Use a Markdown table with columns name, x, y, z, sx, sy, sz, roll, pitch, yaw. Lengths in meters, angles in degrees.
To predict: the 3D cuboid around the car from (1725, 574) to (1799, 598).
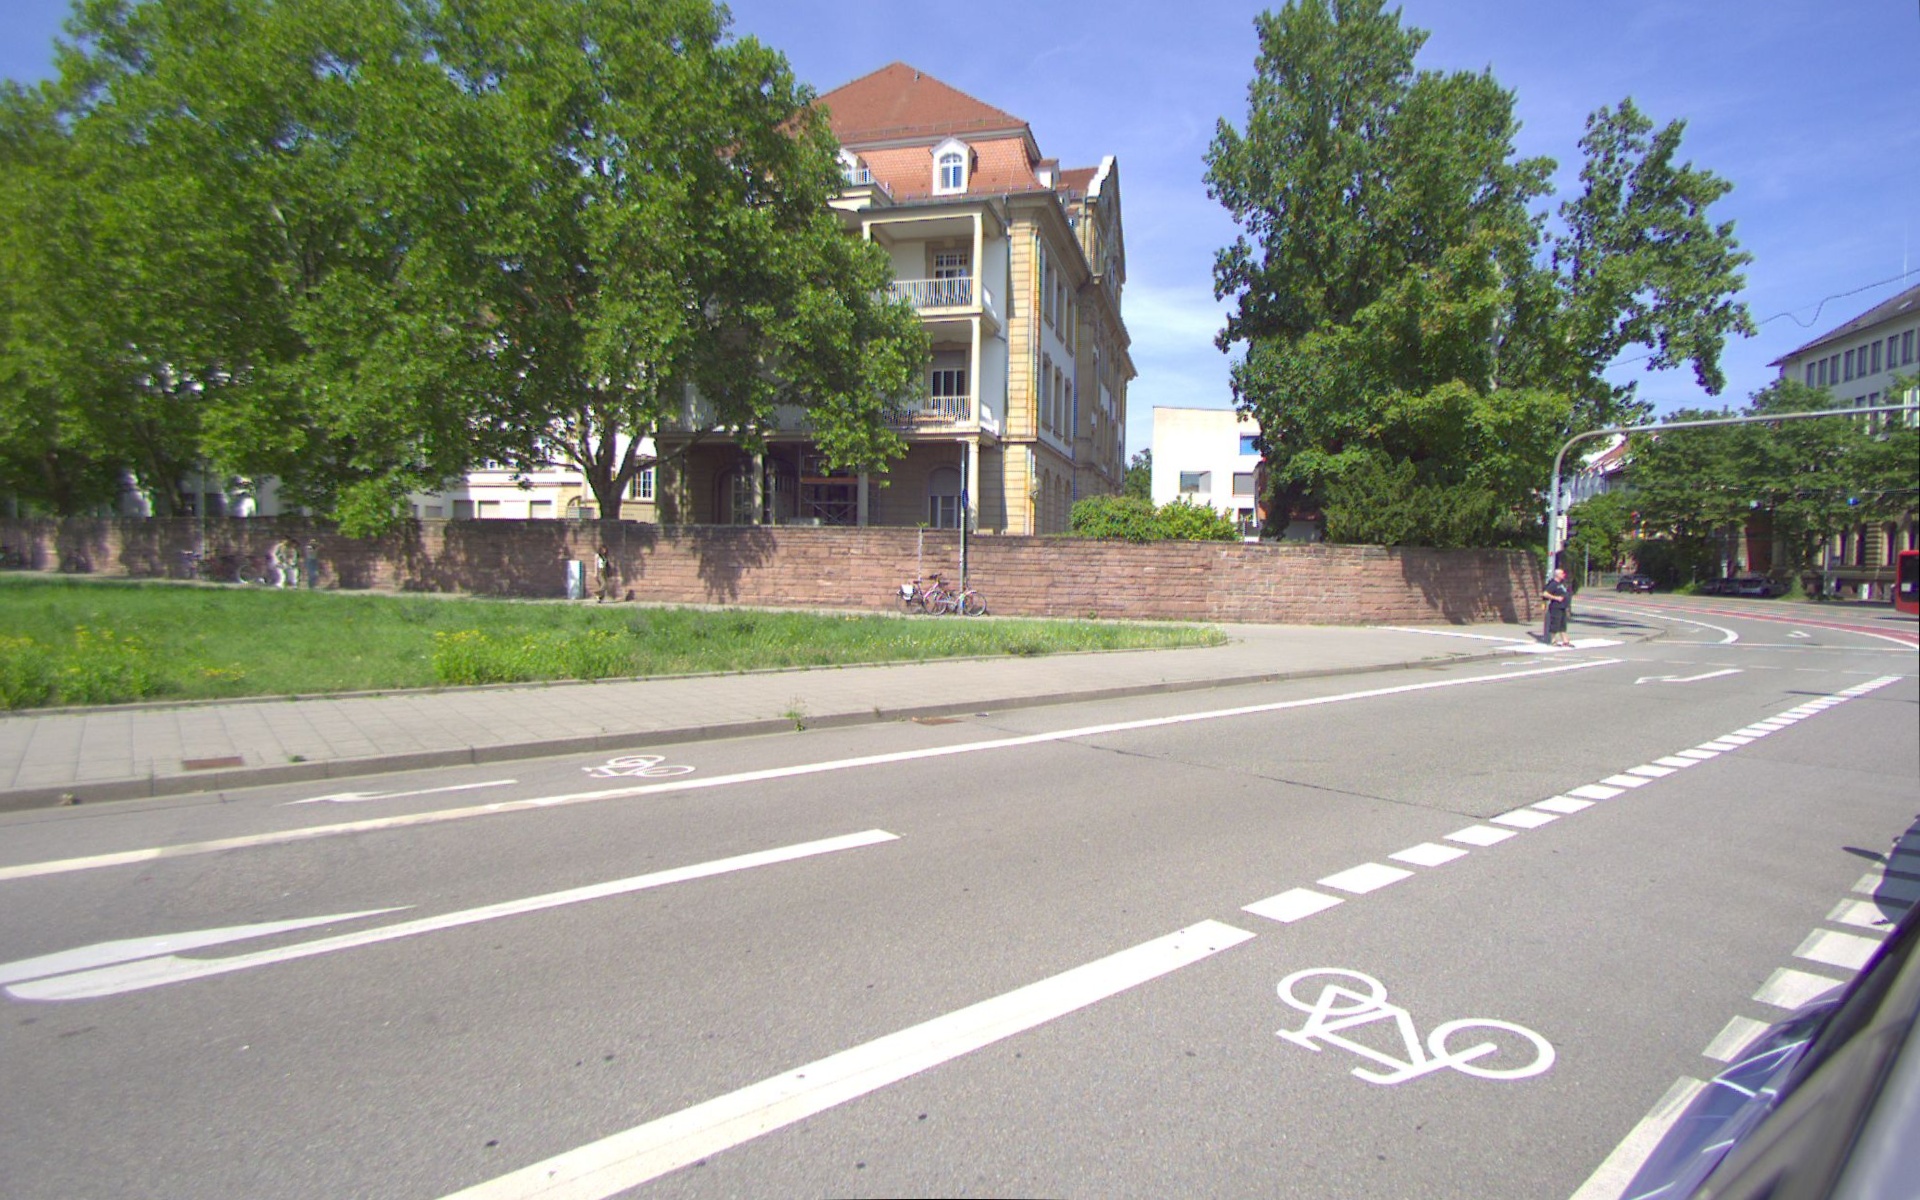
| name | x | y | z | sx | sy | sz | roll | pitch | yaw |
| --- | --- | --- | --- | --- | --- | --- | --- | --- | --- |
| car | 61.390 | -1.112 | 77.523 | 3.941 | 1.682 | 1.993 | -1 | 3 | 14 |

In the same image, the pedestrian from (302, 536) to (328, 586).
| name | x | y | z | sx | sy | sz | roll | pitch | yaw |
| --- | --- | --- | --- | --- | --- | --- | --- | --- | --- |
| pedestrian | -21.053 | -1.274 | 33.024 | 0.700 | 1.597 | 0.516 | 3 | 3 | 41 |

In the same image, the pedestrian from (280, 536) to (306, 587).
| name | x | y | z | sx | sy | sz | roll | pitch | yaw |
| --- | --- | --- | --- | --- | --- | --- | --- | --- | --- |
| pedestrian | -21.205 | -1.240 | 32.169 | 0.700 | 1.597 | 0.516 | 3 | 3 | 41 |

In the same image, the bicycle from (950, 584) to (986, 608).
| name | x | y | z | sx | sy | sz | roll | pitch | yaw |
| --- | --- | --- | --- | --- | --- | --- | --- | --- | --- |
| bicycle | 0.216 | -0.096 | 27.000 | 0.929 | 0.609 | 0.275 | 1 | 2 | -2 |

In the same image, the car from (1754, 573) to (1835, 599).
| name | x | y | z | sx | sy | sz | roll | pitch | yaw |
| --- | --- | --- | --- | --- | --- | --- | --- | --- | --- |
| car | 60.106 | -1.007 | 72.949 | 3.942 | 1.682 | 1.993 | -1 | 3 | 15 |

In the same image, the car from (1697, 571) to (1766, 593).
| name | x | y | z | sx | sy | sz | roll | pitch | yaw |
| --- | --- | --- | --- | --- | --- | --- | --- | --- | --- |
| car | 62.527 | -1.482 | 82.133 | 3.943 | 1.682 | 1.992 | -1 | 3 | 16 |

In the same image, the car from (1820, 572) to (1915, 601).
| name | x | y | z | sx | sy | sz | roll | pitch | yaw |
| --- | --- | --- | --- | --- | --- | --- | --- | --- | --- |
| car | 57.098 | -0.849 | 63.768 | 3.940 | 1.682 | 1.993 | -1 | 3 | 14 |

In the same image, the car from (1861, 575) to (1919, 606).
| name | x | y | z | sx | sy | sz | roll | pitch | yaw |
| --- | --- | --- | --- | --- | --- | --- | --- | --- | --- |
| car | 55.722 | -0.549 | 59.210 | 3.942 | 1.682 | 1.992 | -1 | 3 | 15 |

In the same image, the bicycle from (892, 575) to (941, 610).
| name | x | y | z | sx | sy | sz | roll | pitch | yaw |
| --- | --- | --- | --- | --- | --- | --- | --- | --- | --- |
| bicycle | -1.149 | -0.188 | 26.756 | 1.202 | 0.894 | 0.395 | 0 | 2 | -21 |

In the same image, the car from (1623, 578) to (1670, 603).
| name | x | y | z | sx | sy | sz | roll | pitch | yaw |
| --- | --- | --- | --- | --- | --- | --- | --- | --- | --- |
| car | 55.255 | -0.784 | 81.536 | 1.973 | 1.915 | 3.979 | 0 | 1 | 17 |

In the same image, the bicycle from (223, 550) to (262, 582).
| name | x | y | z | sx | sy | sz | roll | pitch | yaw |
| --- | --- | --- | --- | --- | --- | --- | --- | --- | --- |
| bicycle | -24.911 | -1.179 | 35.110 | 1.432 | 1.046 | 0.444 | 2 | 2 | 24 |

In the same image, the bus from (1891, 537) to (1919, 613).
| name | x | y | z | sx | sy | sz | roll | pitch | yaw |
| --- | --- | --- | --- | --- | --- | --- | --- | --- | --- |
| bus | 40.264 | -0.960 | 36.518 | 3.079 | 3.133 | 12.391 | -1 | 1 | 7 |

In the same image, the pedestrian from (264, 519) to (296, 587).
| name | x | y | z | sx | sy | sz | roll | pitch | yaw |
| --- | --- | --- | --- | --- | --- | --- | --- | --- | --- |
| pedestrian | -20.661 | -1.425 | 30.742 | 0.586 | 2.038 | 0.522 | 1 | 2 | 9 |

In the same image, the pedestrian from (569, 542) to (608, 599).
| name | x | y | z | sx | sy | sz | roll | pitch | yaw |
| --- | --- | --- | --- | --- | --- | --- | --- | --- | --- |
| pedestrian | -10.492 | -0.837 | 28.600 | 0.900 | 1.567 | 0.501 | 2 | 2 | 13 |

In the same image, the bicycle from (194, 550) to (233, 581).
| name | x | y | z | sx | sy | sz | roll | pitch | yaw |
| --- | --- | --- | --- | --- | --- | --- | --- | --- | --- |
| bicycle | -26.426 | -1.235 | 35.820 | 1.432 | 1.046 | 0.444 | 2 | 2 | 24 |

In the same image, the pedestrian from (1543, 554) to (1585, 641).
| name | x | y | z | sx | sy | sz | roll | pitch | yaw |
| --- | --- | --- | --- | --- | --- | --- | --- | --- | --- |
| pedestrian | 14.585 | -0.076 | 24.444 | 0.790 | 2.038 | 0.608 | 2 | 2 | 35 |
